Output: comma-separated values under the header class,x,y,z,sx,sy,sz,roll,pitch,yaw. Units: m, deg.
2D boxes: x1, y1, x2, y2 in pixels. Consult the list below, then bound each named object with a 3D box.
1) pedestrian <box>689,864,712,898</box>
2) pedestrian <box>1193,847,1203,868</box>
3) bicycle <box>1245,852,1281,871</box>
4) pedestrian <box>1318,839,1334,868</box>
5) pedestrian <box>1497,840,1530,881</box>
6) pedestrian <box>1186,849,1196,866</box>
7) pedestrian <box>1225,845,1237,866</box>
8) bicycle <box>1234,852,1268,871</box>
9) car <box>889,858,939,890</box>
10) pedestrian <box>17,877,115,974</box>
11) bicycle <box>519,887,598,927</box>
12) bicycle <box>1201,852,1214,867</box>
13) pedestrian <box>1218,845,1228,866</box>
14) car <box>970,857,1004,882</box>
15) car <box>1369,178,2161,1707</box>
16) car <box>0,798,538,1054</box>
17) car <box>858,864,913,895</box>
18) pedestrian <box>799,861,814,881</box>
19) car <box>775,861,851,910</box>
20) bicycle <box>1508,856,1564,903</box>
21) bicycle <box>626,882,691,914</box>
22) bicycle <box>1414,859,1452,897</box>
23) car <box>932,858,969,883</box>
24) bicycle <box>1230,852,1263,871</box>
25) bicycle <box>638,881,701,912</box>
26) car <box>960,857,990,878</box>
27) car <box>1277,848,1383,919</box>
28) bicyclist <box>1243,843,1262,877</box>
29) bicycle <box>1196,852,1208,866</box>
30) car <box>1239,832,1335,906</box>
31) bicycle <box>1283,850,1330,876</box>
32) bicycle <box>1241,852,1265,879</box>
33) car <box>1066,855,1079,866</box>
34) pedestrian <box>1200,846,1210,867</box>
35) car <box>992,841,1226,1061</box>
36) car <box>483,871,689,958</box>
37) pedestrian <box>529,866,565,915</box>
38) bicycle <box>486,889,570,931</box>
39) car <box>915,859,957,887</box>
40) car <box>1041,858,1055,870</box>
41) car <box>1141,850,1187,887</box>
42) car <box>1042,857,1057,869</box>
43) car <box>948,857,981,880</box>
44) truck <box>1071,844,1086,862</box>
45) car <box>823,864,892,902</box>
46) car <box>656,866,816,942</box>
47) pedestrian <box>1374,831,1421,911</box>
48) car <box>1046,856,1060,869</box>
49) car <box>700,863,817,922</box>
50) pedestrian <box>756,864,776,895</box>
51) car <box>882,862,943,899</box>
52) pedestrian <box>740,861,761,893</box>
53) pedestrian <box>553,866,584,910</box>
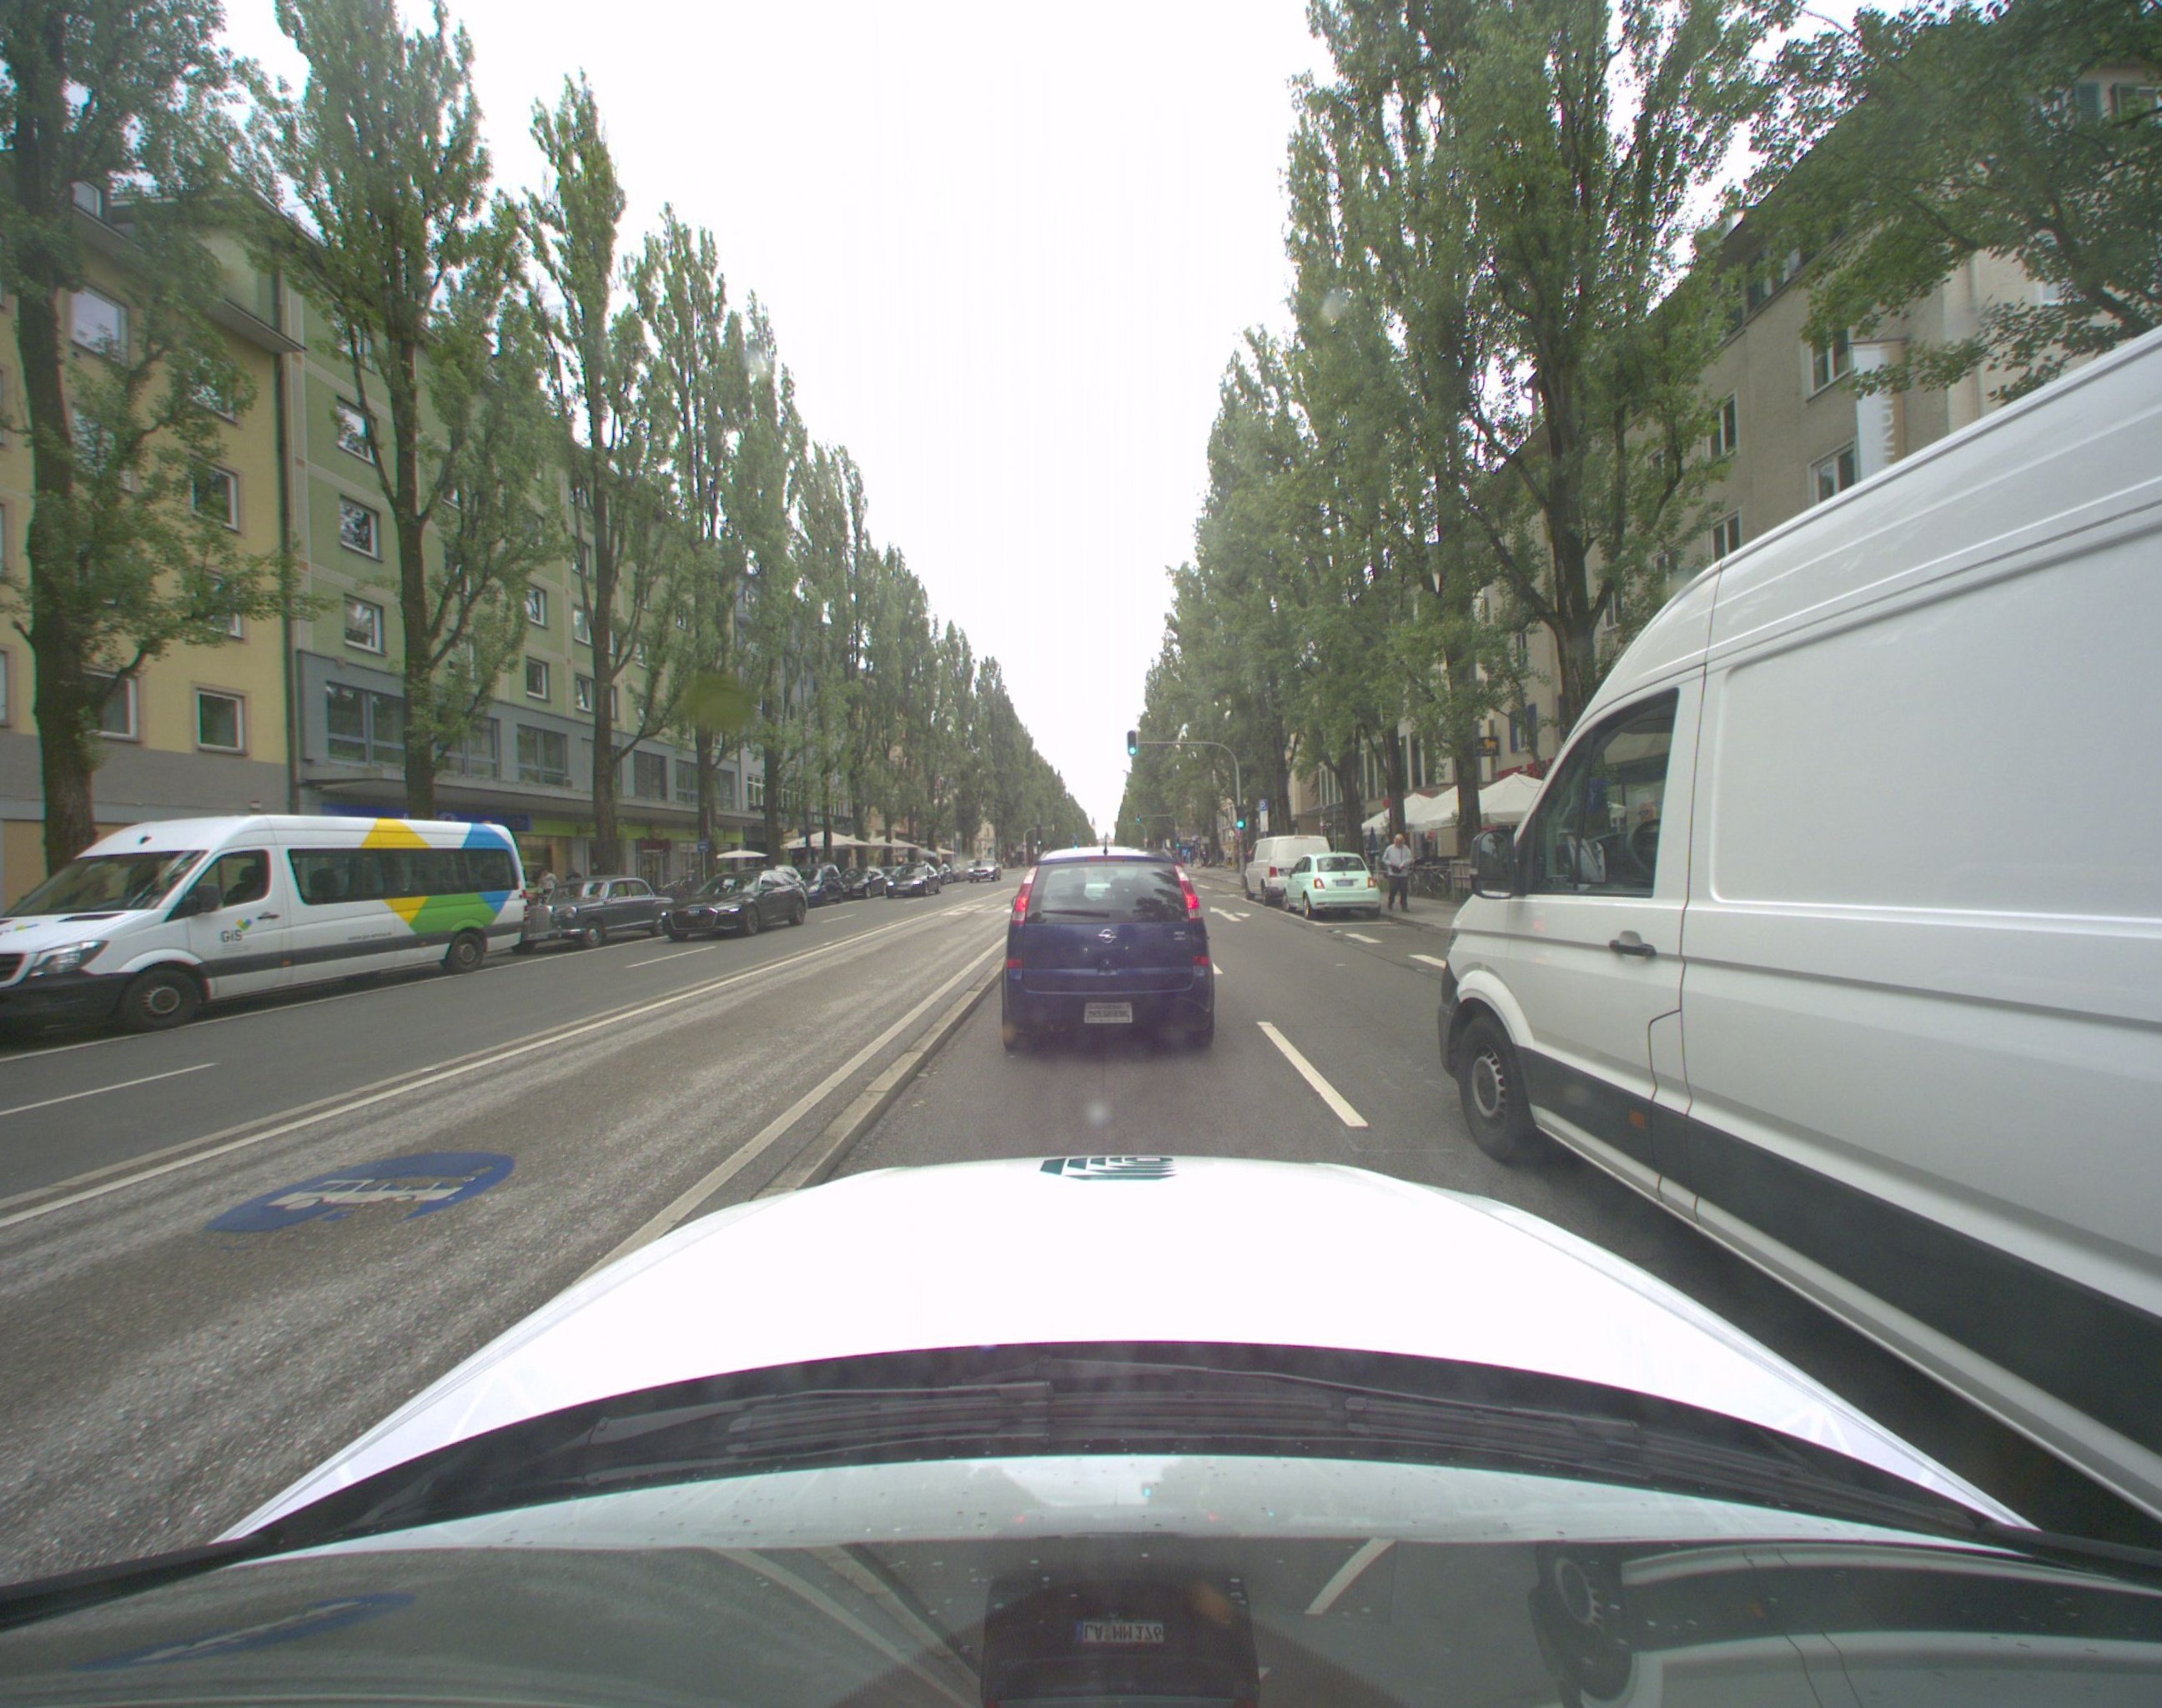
class,x,y,z,sx,sy,sz,roll,pitch,yaw
pedestrian,-19.222,1.350,41.117,0.753,1.686,0.675,-3,-1,3
pedestrian,10.506,0.333,73.350,0.636,1.827,0.885,0,-1,-8
bicycle,12.138,0.506,54.268,2.220,1.204,0.626,-3,0,-1
pedestrian,14.680,-0.044,48.830,0.671,1.686,0.758,-3,-1,-3
pedestrian,14.357,0.217,27.030,0.636,1.324,0.800,-2,0,1
pedestrian,11.736,0.350,86.863,0.880,1.766,0.769,-2,0,-1
pedestrian,12.729,0.143,69.185,0.719,1.827,0.885,0,-1,-8
bicycle,11.901,0.525,57.188,2.220,1.204,0.626,-3,0,-1
car,-10.010,1.176,49.071,1.859,1.665,4.402,-4,0,2
pedestrian,-18.584,1.283,14.928,0.753,1.686,0.786,-3,0,4
bicycle,-15.265,1.534,23.825,1.860,1.095,0.720,0,0,4
bicycle,11.766,0.493,75.824,0.769,1.349,2.450,-2,0,1
pedestrian,12.009,0.135,68.948,0.636,1.827,0.885,0,-1,-8
car,-6.679,1.077,58.490,1.764,1.635,4.456,-3,0,1
car,2.704,0.201,1.632,2.055,2.492,6.733,-1,0,2
car,-11.307,0.770,11.747,1.998,2.567,6.915,-4,0,2
car,-10.256,1.313,43.020,1.727,1.425,4.145,-4,0,2
pedestrian,-18.799,1.157,55.796,0.763,1.410,0.799,0,-1,-3
car,-10.644,1.188,32.615,1.704,1.721,3.920,-4,0,-1
bicycle,10.313,0.562,18.509,0.348,0.996,1.453,-4,-1,-2
bicycle,-15.172,1.565,29.296,1.943,1.095,0.718,0,0,-5
bicycle,9.850,0.661,22.817,0.348,0.996,1.453,-4,-1,-2
car,-9.642,1.187,60.370,1.859,1.665,4.122,-4,0,2
bicycle,11.921,0.532,58.567,2.220,1.204,0.626,-3,0,-1
bicycle,-15.206,1.550,30.128,1.943,1.095,0.718,0,0,-5
car,-9.261,1.185,71.156,1.859,1.665,4.122,-4,0,2
car,5.787,0.647,19.314,1.535,1.492,3.525,-1,0,2
bicyclist,9.097,0.299,43.284,0.764,1.766,0.885,-2,0,1
bicycle,12.016,0.500,80.915,0.769,1.349,2.450,-2,0,1
car,6.019,0.406,24.368,1.781,1.946,4.732,-2,0,2
bicycle,11.695,0.463,42.308,2.220,1.204,0.626,-3,0,-1
bicycle,9.102,0.590,43.221,0.769,1.349,2.450,-2,0,1
car,-1.285,0.981,124.434,1.728,1.465,3.366,-2,0,2
pedestrian,11.239,0.228,73.592,0.636,1.827,0.885,0,-1,-8
car,0.276,0.703,7.907,1.665,1.568,4.002,-1,0,2
car,-11.150,1.281,18.811,1.859,1.552,4.416,-4,0,2
pedestrian,-18.902,1.289,28.835,0.753,1.686,0.675,-3,-1,3
bicycle,-15.278,1.537,22.536,1.860,1.095,0.720,0,0,4
car,-9.783,1.231,55.121,1.859,1.665,4.122,-4,0,2
car,-5.069,1.508,124.921,1.859,1.665,4.122,-2,0,2
car,3.867,0.642,38.584,1.889,1.622,4.002,-1,0,2
car,-4.553,1.323,118.033,1.859,1.665,4.122,-2,0,2
car,-9.361,1.177,65.894,1.859,1.665,4.122,-4,0,2
truck,-0.419,-0.150,154.553,2.374,3.346,7.113,-2,0,2
car,-10.342,1.290,38.048,1.792,1.488,4.352,-4,0,2
car,-8.209,1.121,19.932,1.691,1.462,4.714,-4,0,2
pedestrian,7.248,0.386,18.683,0.821,1.773,0.874,-2,0,14
car,-4.502,1.405,132.444,1.986,2.013,4.001,-2,0,1
car,-10.663,1.208,27.302,1.859,1.664,4.613,-4,0,2
pedestrian,-17.716,1.432,45.780,0.753,1.686,0.675,-3,-1,3
car,-7.650,1.179,37.434,1.739,1.434,4.131,-4,0,2
pedestrian,-17.971,1.234,44.265,0.753,1.686,0.675,-3,-1,3
pedestrian,-20.257,1.332,32.218,0.670,1.686,0.759,-3,-1,3
